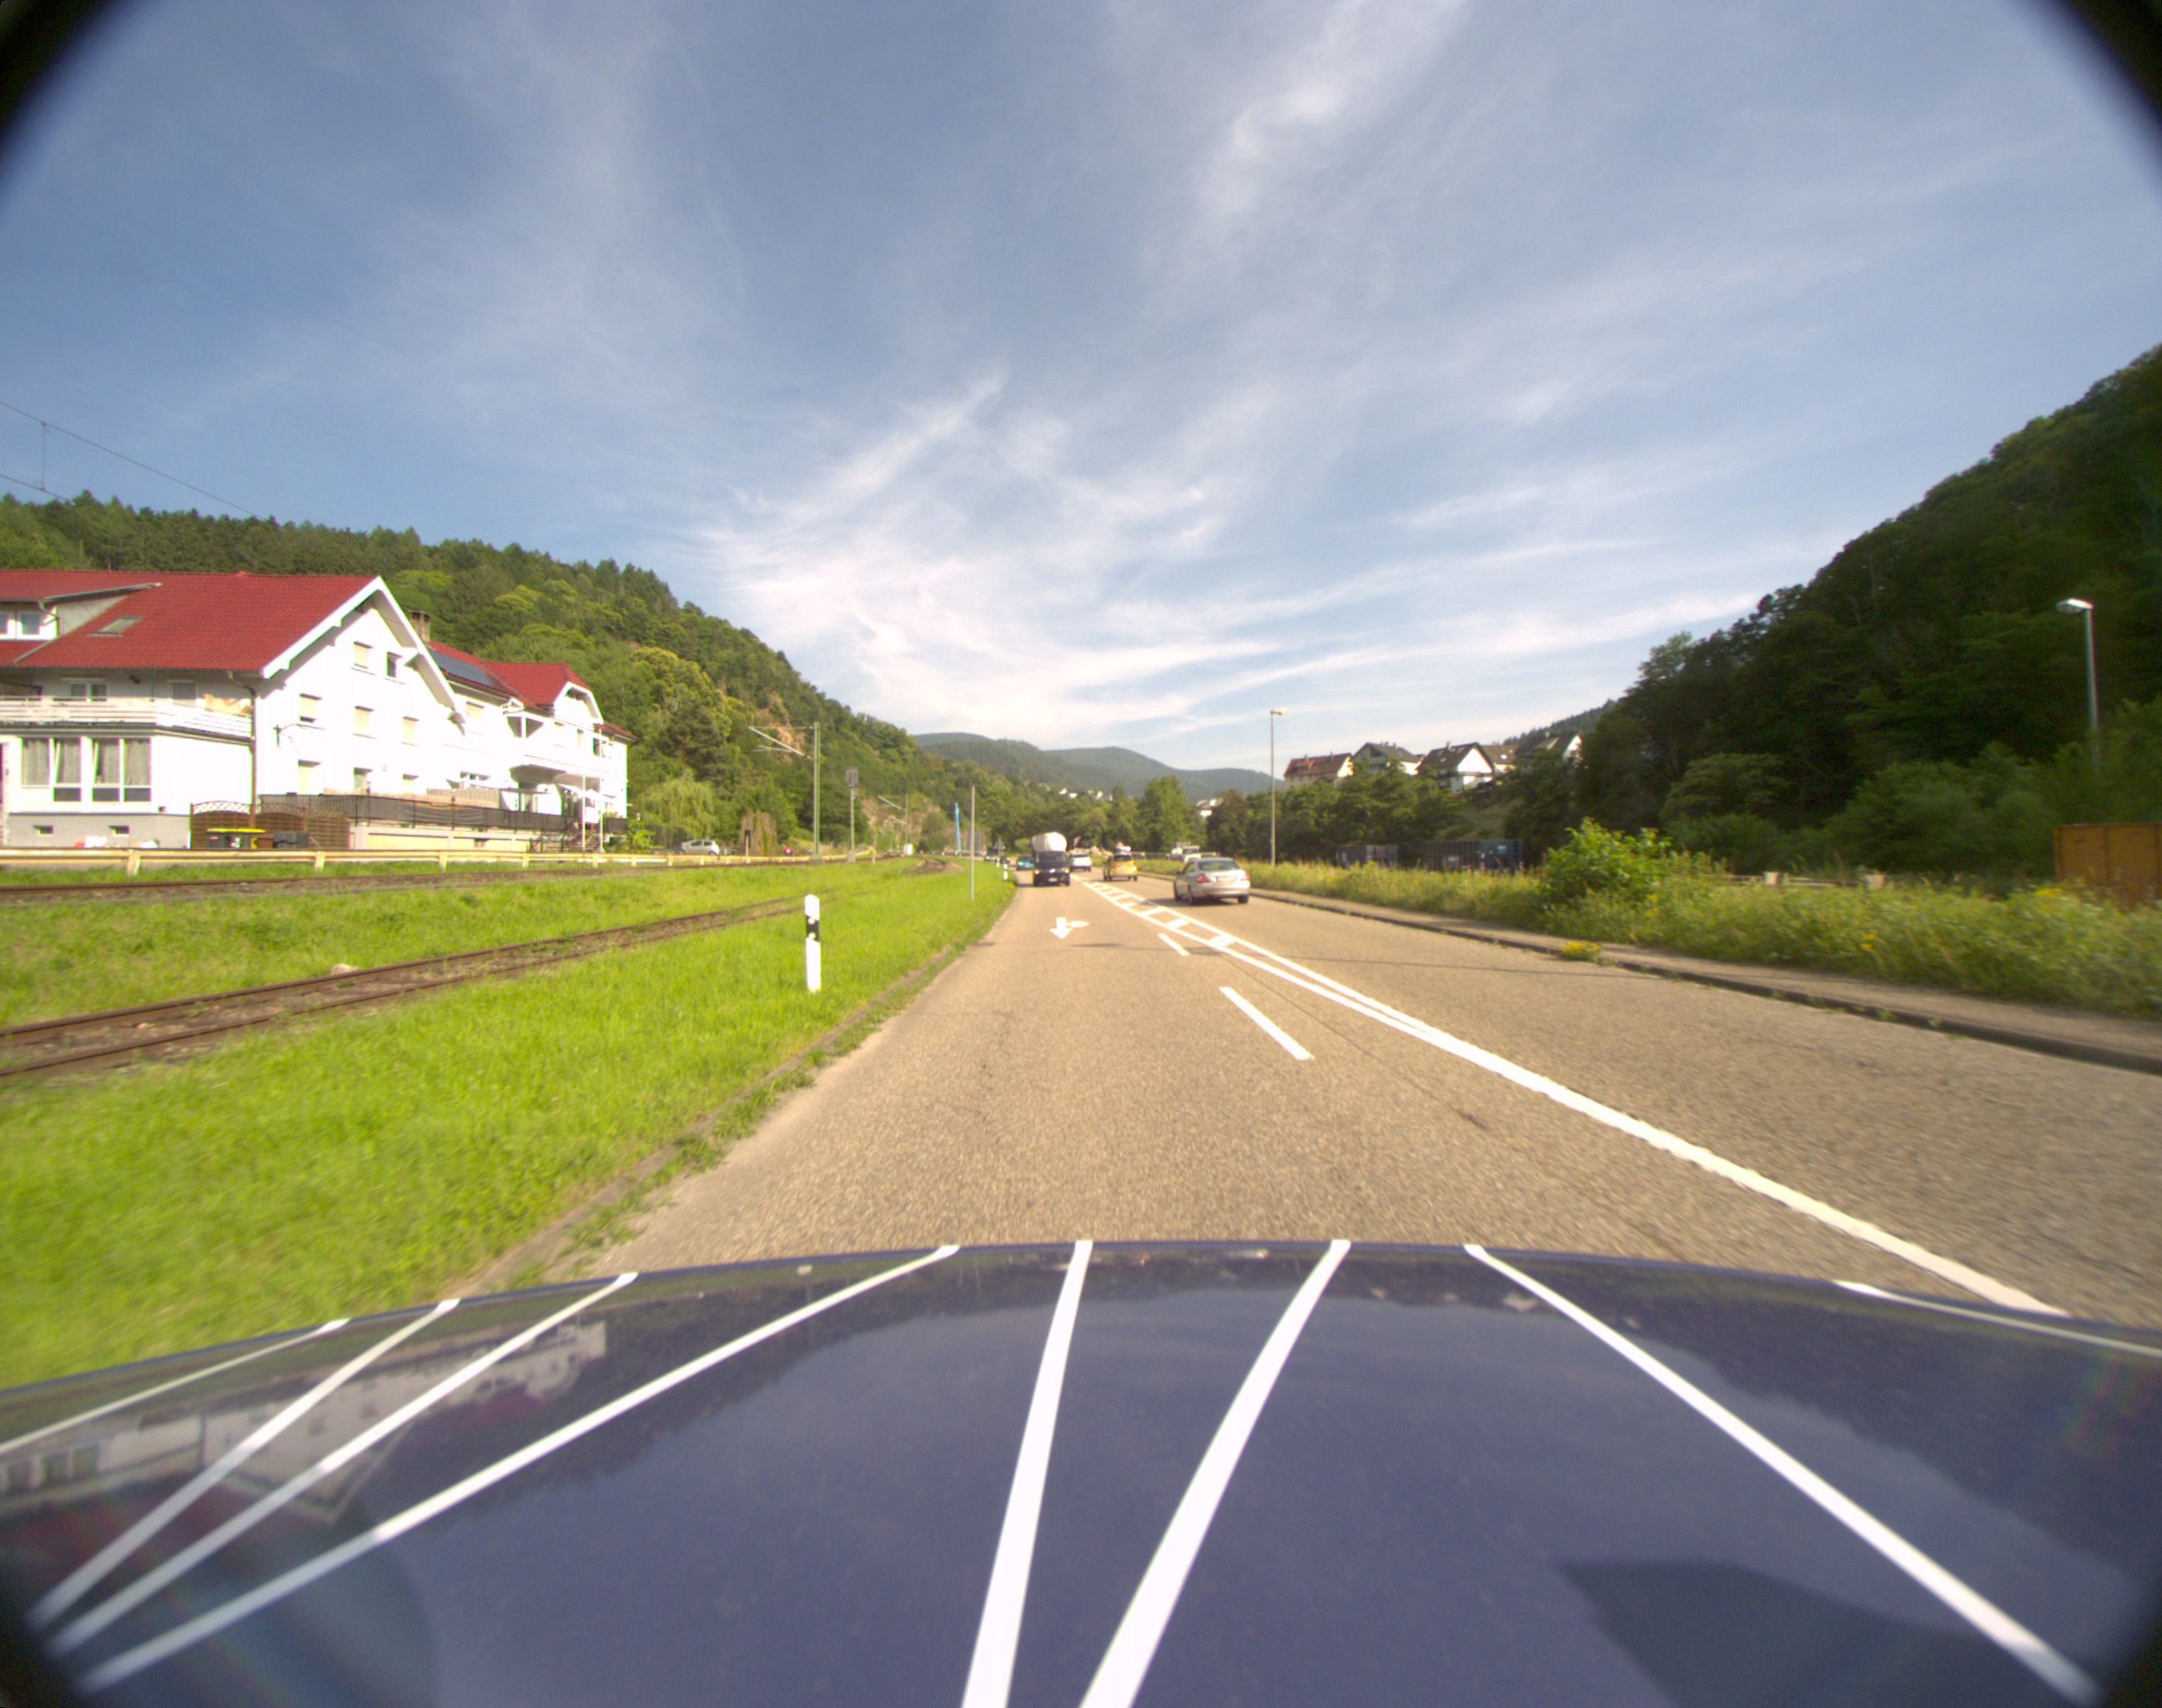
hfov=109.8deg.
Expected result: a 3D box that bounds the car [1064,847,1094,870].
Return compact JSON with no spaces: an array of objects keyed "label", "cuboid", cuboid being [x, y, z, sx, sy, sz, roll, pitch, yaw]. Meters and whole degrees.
[{"label":"car","cuboid":[-0.208,0.391,68.198,2.000,2.002,3.996,2,0,-11]}]

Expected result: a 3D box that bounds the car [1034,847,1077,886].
[{"label":"car","cuboid":[-1.310,0.673,40.925,1.998,2.001,4.002,0,-1,3]}]

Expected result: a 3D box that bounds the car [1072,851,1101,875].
[{"label":"car","cuboid":[0.429,0.716,63.408,1.999,1.748,4.467,-2,1,-4]}]

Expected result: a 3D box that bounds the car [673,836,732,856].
[{"label":"car","cuboid":[-31.403,-0.628,63.140,4.000,1.521,1.998,1,0,-9]}]

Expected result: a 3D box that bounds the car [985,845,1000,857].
[{"label":"car","cuboid":[-14.982,-0.567,128.906,2.001,2.002,3.995,2,0,-13]}]

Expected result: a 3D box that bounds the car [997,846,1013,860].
[{"label":"car","cuboid":[-10.993,-0.147,110.114,2.000,2.002,3.996,2,0,-10]}]

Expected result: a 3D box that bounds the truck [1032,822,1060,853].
[{"label":"truck","cuboid":[-4.718,-2.106,100.118,2.759,3.813,8.191,-2,1,-8]}]

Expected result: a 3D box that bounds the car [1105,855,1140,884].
[{"label":"car","cuboid":[2.412,0.886,44.829,1.728,1.615,3.795,-2,0,-1]}]

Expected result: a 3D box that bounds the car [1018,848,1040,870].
[{"label":"car","cuboid":[-5.189,0.457,75.159,2.000,2.002,3.998,2,0,-5]}]

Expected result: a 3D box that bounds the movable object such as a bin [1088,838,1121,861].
[{"label":"movable object such as a bin","cuboid":[4.230,-0.879,139.053,2.710,3.924,9.972,1,1,-18]}]

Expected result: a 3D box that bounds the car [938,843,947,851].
[{"label":"car","cuboid":[-34.363,-1.672,188.001,2.001,2.002,3.995,2,0,-13]}]

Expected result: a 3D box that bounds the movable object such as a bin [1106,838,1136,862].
[{"label":"movable object such as a bin","cuboid":[6.852,-0.788,130.830,2.733,3.924,7.217,1,1,-17]}]

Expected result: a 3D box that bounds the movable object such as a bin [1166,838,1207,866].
[{"label":"movable object such as a bin","cuboid":[15.687,-0.376,113.965,2.910,3.924,7.795,1,1,-17]}]

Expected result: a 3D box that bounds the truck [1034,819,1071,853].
[{"label":"truck","cuboid":[-3.689,-2.104,93.551,2.759,3.813,14.548,-2,1,-9]}]

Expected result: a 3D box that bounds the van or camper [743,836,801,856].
[{"label":"van or camper","cuboid":[-33.639,-0.861,82.939,5.432,1.918,2.119,2,1,-4]}]

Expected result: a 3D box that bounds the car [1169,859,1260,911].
[{"label":"car","cuboid":[4.006,0.883,23.582,1.783,1.340,4.509,-3,0,-3]}]

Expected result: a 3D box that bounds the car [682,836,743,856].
[{"label":"car","cuboid":[-31.786,-0.682,65.671,4.327,1.521,1.998,1,0,-9]}]
